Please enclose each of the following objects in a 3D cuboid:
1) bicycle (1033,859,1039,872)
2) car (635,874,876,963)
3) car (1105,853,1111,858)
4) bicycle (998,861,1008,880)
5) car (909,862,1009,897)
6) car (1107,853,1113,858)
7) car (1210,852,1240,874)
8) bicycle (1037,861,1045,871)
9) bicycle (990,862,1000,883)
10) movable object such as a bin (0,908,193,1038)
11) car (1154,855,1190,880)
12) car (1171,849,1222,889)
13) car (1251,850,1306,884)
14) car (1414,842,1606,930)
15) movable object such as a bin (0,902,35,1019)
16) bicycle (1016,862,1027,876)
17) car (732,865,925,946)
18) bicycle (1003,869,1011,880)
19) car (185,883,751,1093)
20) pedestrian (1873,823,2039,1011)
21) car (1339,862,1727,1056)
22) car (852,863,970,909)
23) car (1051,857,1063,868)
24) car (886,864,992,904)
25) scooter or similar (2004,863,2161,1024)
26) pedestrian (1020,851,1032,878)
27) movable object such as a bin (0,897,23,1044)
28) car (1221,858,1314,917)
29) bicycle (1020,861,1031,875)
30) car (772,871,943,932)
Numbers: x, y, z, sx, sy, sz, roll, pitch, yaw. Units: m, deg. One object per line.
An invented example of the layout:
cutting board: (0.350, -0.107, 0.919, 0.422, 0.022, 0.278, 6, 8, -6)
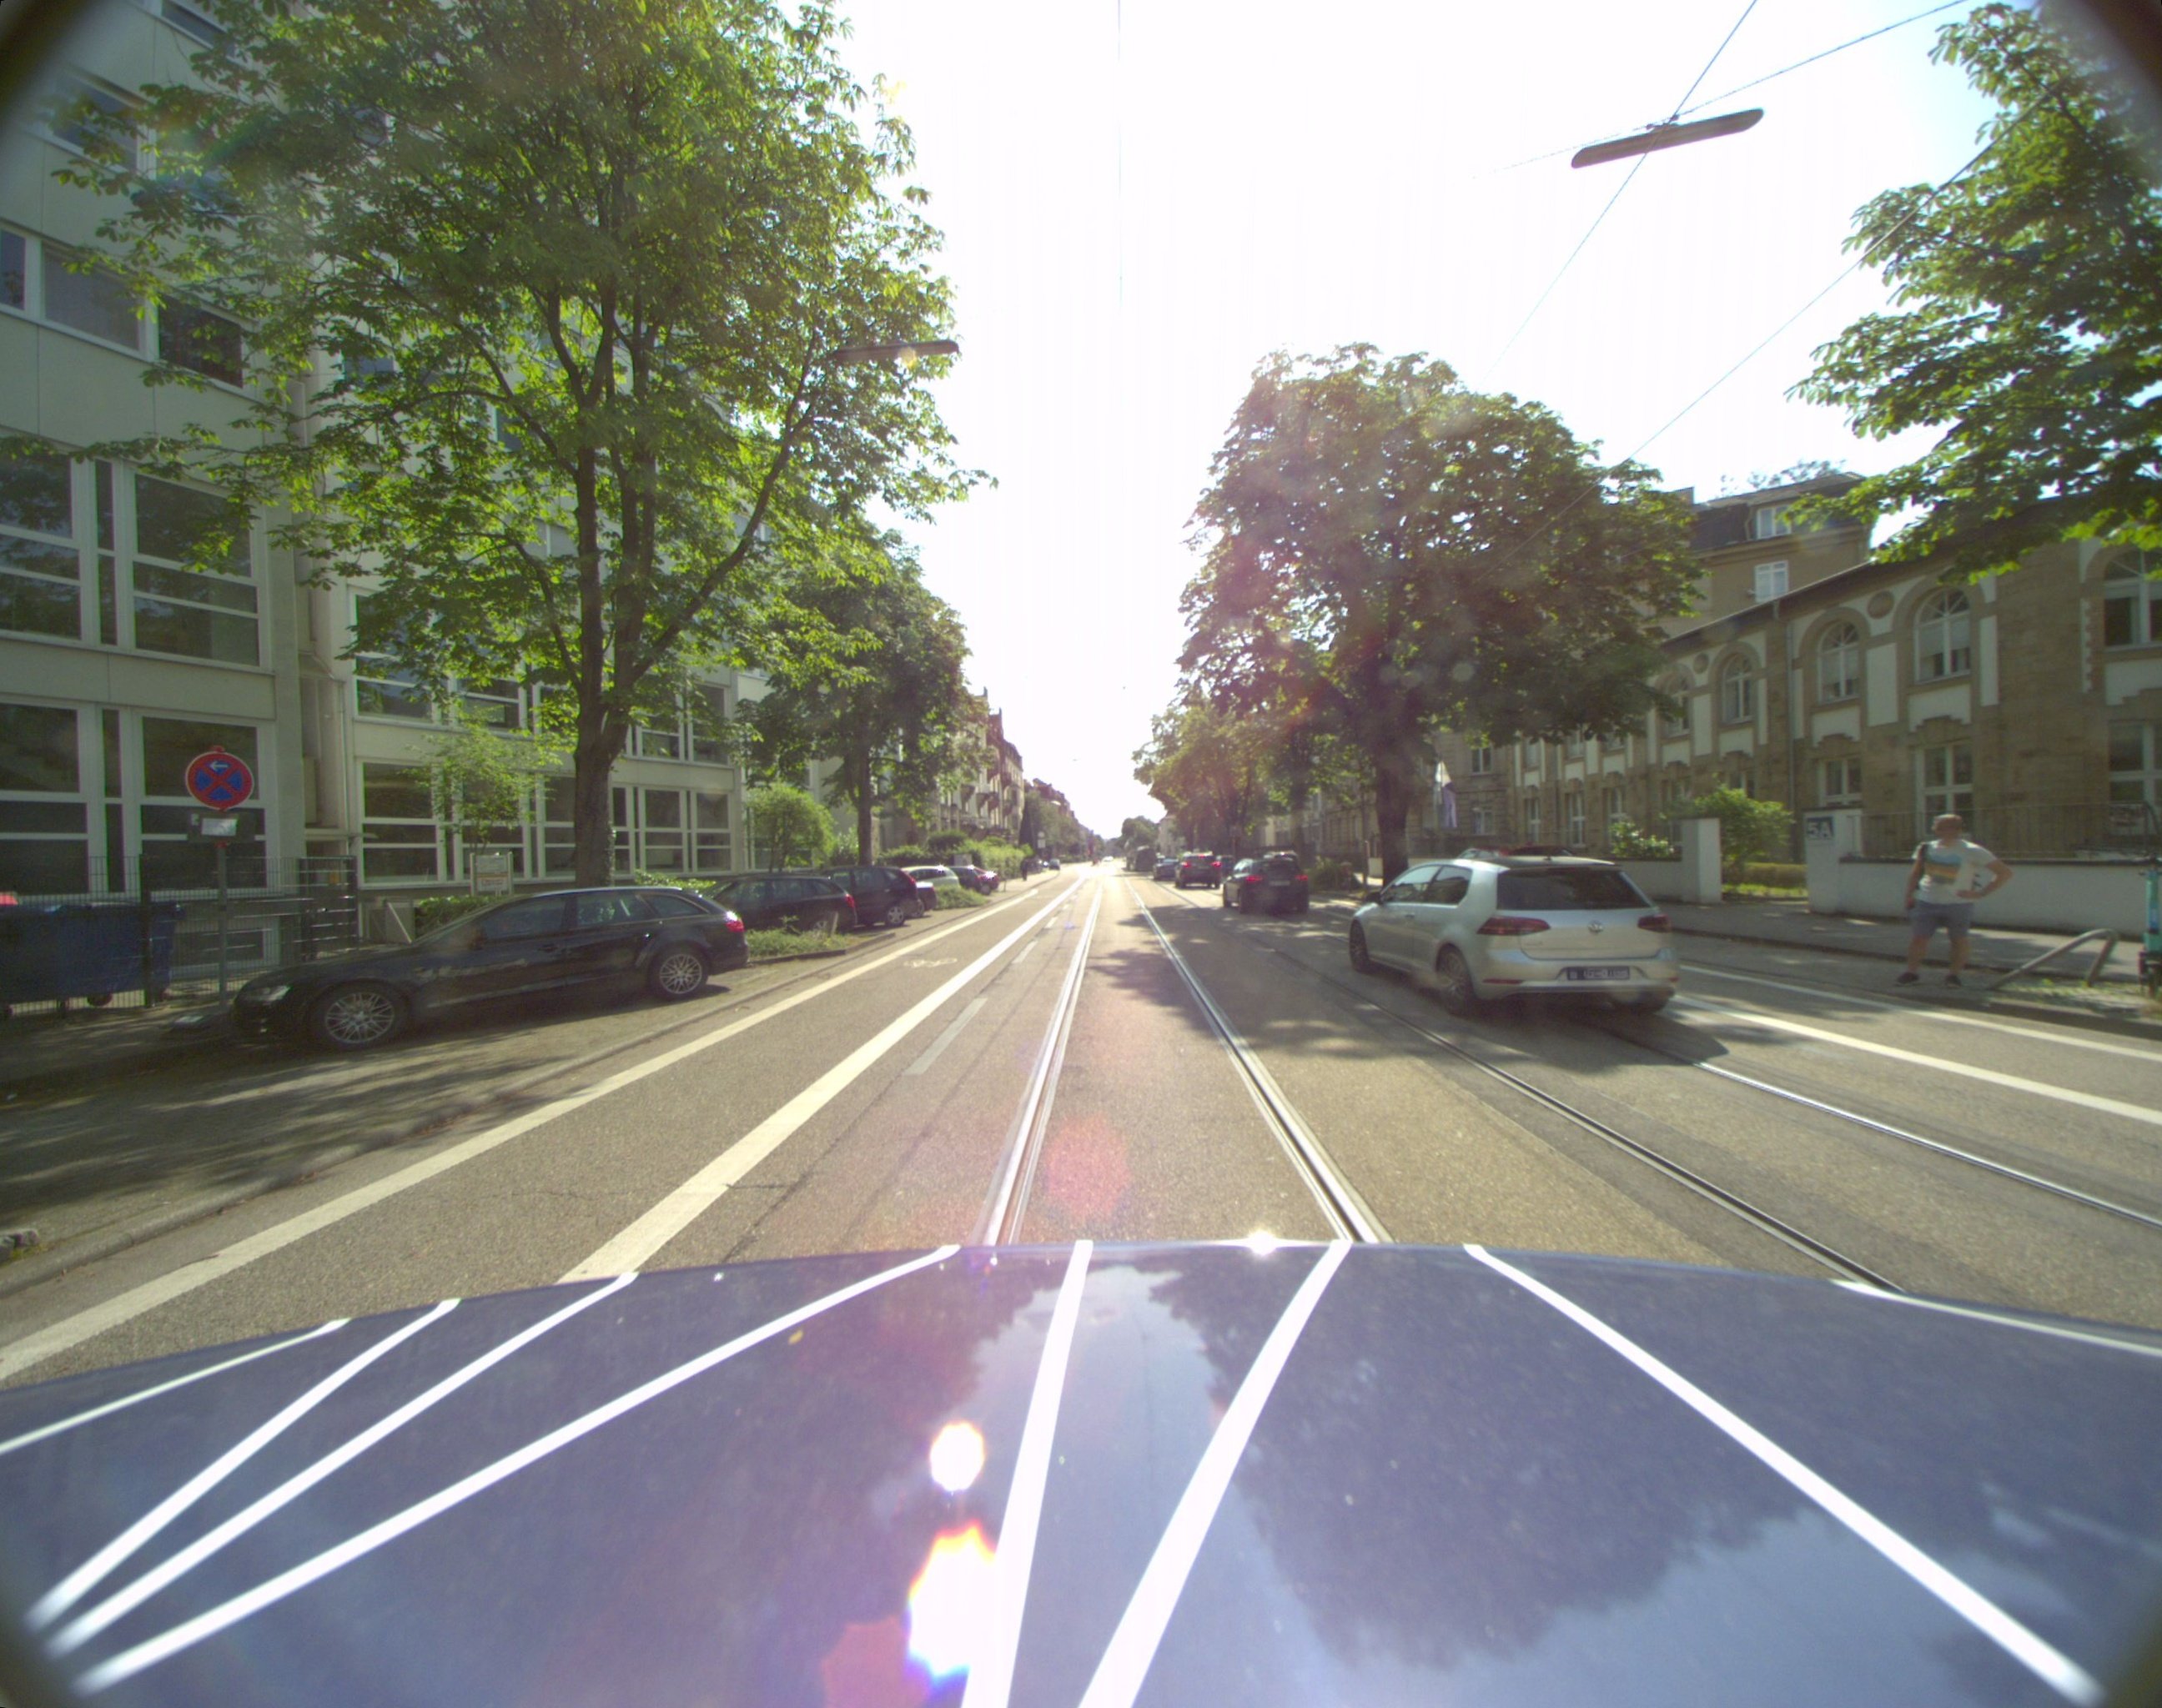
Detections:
bicycle: (-4.203, 1.071, 70.677, 0.452, 1.253, 1.844, 1, 0, -1)
car: (-6.429, 1.206, 15.273, 4.084, 1.434, 1.722, -1, -2, -42)
car: (8.029, 0.417, 224.499, 1.860, 1.455, 4.000, -2, 0, 2)
bicycle: (-4.926, 1.042, 48.109, 0.280, 1.102, 2.011, 2, 1, 2)
car: (-5.544, 1.119, 34.845, 4.168, 1.415, 1.861, -1, 0, -40)
car: (9.245, 0.343, 240.240, 1.860, 1.455, 4.000, -2, 0, 2)
car: (11.163, 0.669, 59.084, 1.658, 1.476, 3.808, -3, 1, 1)
bicycle: (-3.970, 1.208, 75.510, 0.600, 0.955, 3.066, 2, 0, -1)
bicycle: (-5.037, 1.074, 44.592, 0.280, 1.102, 2.011, 2, 1, 2)
movable object such as a bin: (-12.022, 1.373, 9.043, 1.278, 1.311, 1.326, -2, 1, 2)
car: (5.485, 0.790, 46.333, 1.803, 1.380, 4.426, 0, 0, 2)
car: (5.421, 0.655, 36.118, 1.830, 1.717, 4.391, -2, 0, 2)
car: (10.506, 0.662, 40.671, 1.811, 1.631, 4.332, -3, 0, 1)
car: (9.550, 0.609, 17.452, 1.754, 1.656, 4.720, -3, 0, 1)
movable object such as a bin: (-14.479, 1.370, 9.555, 1.376, 1.439, 1.266, 0, 1, 23)
bicycle: (-4.466, 1.084, 56.927, 0.614, 0.983, 1.872, 1, 1, 2)
car: (-6.123, 1.170, 18.637, 4.007, 1.565, 1.900, -3, 0, -40)
bicycle: (-4.862, 1.322, 50.023, 0.280, 0.673, 1.559, 2, 1, 2)
car: (-6.532, 1.225, 8.700, 4.544, 1.434, 2.026, -4, 1, -43)
pedestrian: (8.817, 0.601, 7.689, 0.790, 1.756, 0.752, -3, 1, -7)
car: (4.174, 0.846, 7.846, 1.777, 1.408, 3.852, -1, 1, 2)
car: (-6.278, 1.131, 28.302, 4.008, 1.452, 1.531, -2, 0, -43)
car: (-3.252, 1.121, 103.511, 1.517, 1.490, 2.794, 1, 0, 0)
car: (-5.878, 1.215, 31.682, 4.007, 1.440, 1.695, -2, 0, -40)
scooter or similar: (9.512, 0.763, 6.829, 1.342, 1.272, 0.855, -3, 1, 1)
pedestrian: (-3.807, 0.733, 52.518, 0.790, 1.851, 0.580, 1, 1, -6)
movable object such as a bin: (-11.958, 1.251, 7.356, 1.278, 1.530, 1.469, -2, 1, 2)
car: (4.918, 0.834, 20.585, 1.727, 1.368, 4.001, -1, 0, 3)
bicycle: (-4.308, 1.085, 59.323, 0.612, 0.990, 2.362, 1, 1, 2)
car: (-6.263, 1.279, 21.583, 4.183, 1.341, 1.900, -3, 0, -43)
